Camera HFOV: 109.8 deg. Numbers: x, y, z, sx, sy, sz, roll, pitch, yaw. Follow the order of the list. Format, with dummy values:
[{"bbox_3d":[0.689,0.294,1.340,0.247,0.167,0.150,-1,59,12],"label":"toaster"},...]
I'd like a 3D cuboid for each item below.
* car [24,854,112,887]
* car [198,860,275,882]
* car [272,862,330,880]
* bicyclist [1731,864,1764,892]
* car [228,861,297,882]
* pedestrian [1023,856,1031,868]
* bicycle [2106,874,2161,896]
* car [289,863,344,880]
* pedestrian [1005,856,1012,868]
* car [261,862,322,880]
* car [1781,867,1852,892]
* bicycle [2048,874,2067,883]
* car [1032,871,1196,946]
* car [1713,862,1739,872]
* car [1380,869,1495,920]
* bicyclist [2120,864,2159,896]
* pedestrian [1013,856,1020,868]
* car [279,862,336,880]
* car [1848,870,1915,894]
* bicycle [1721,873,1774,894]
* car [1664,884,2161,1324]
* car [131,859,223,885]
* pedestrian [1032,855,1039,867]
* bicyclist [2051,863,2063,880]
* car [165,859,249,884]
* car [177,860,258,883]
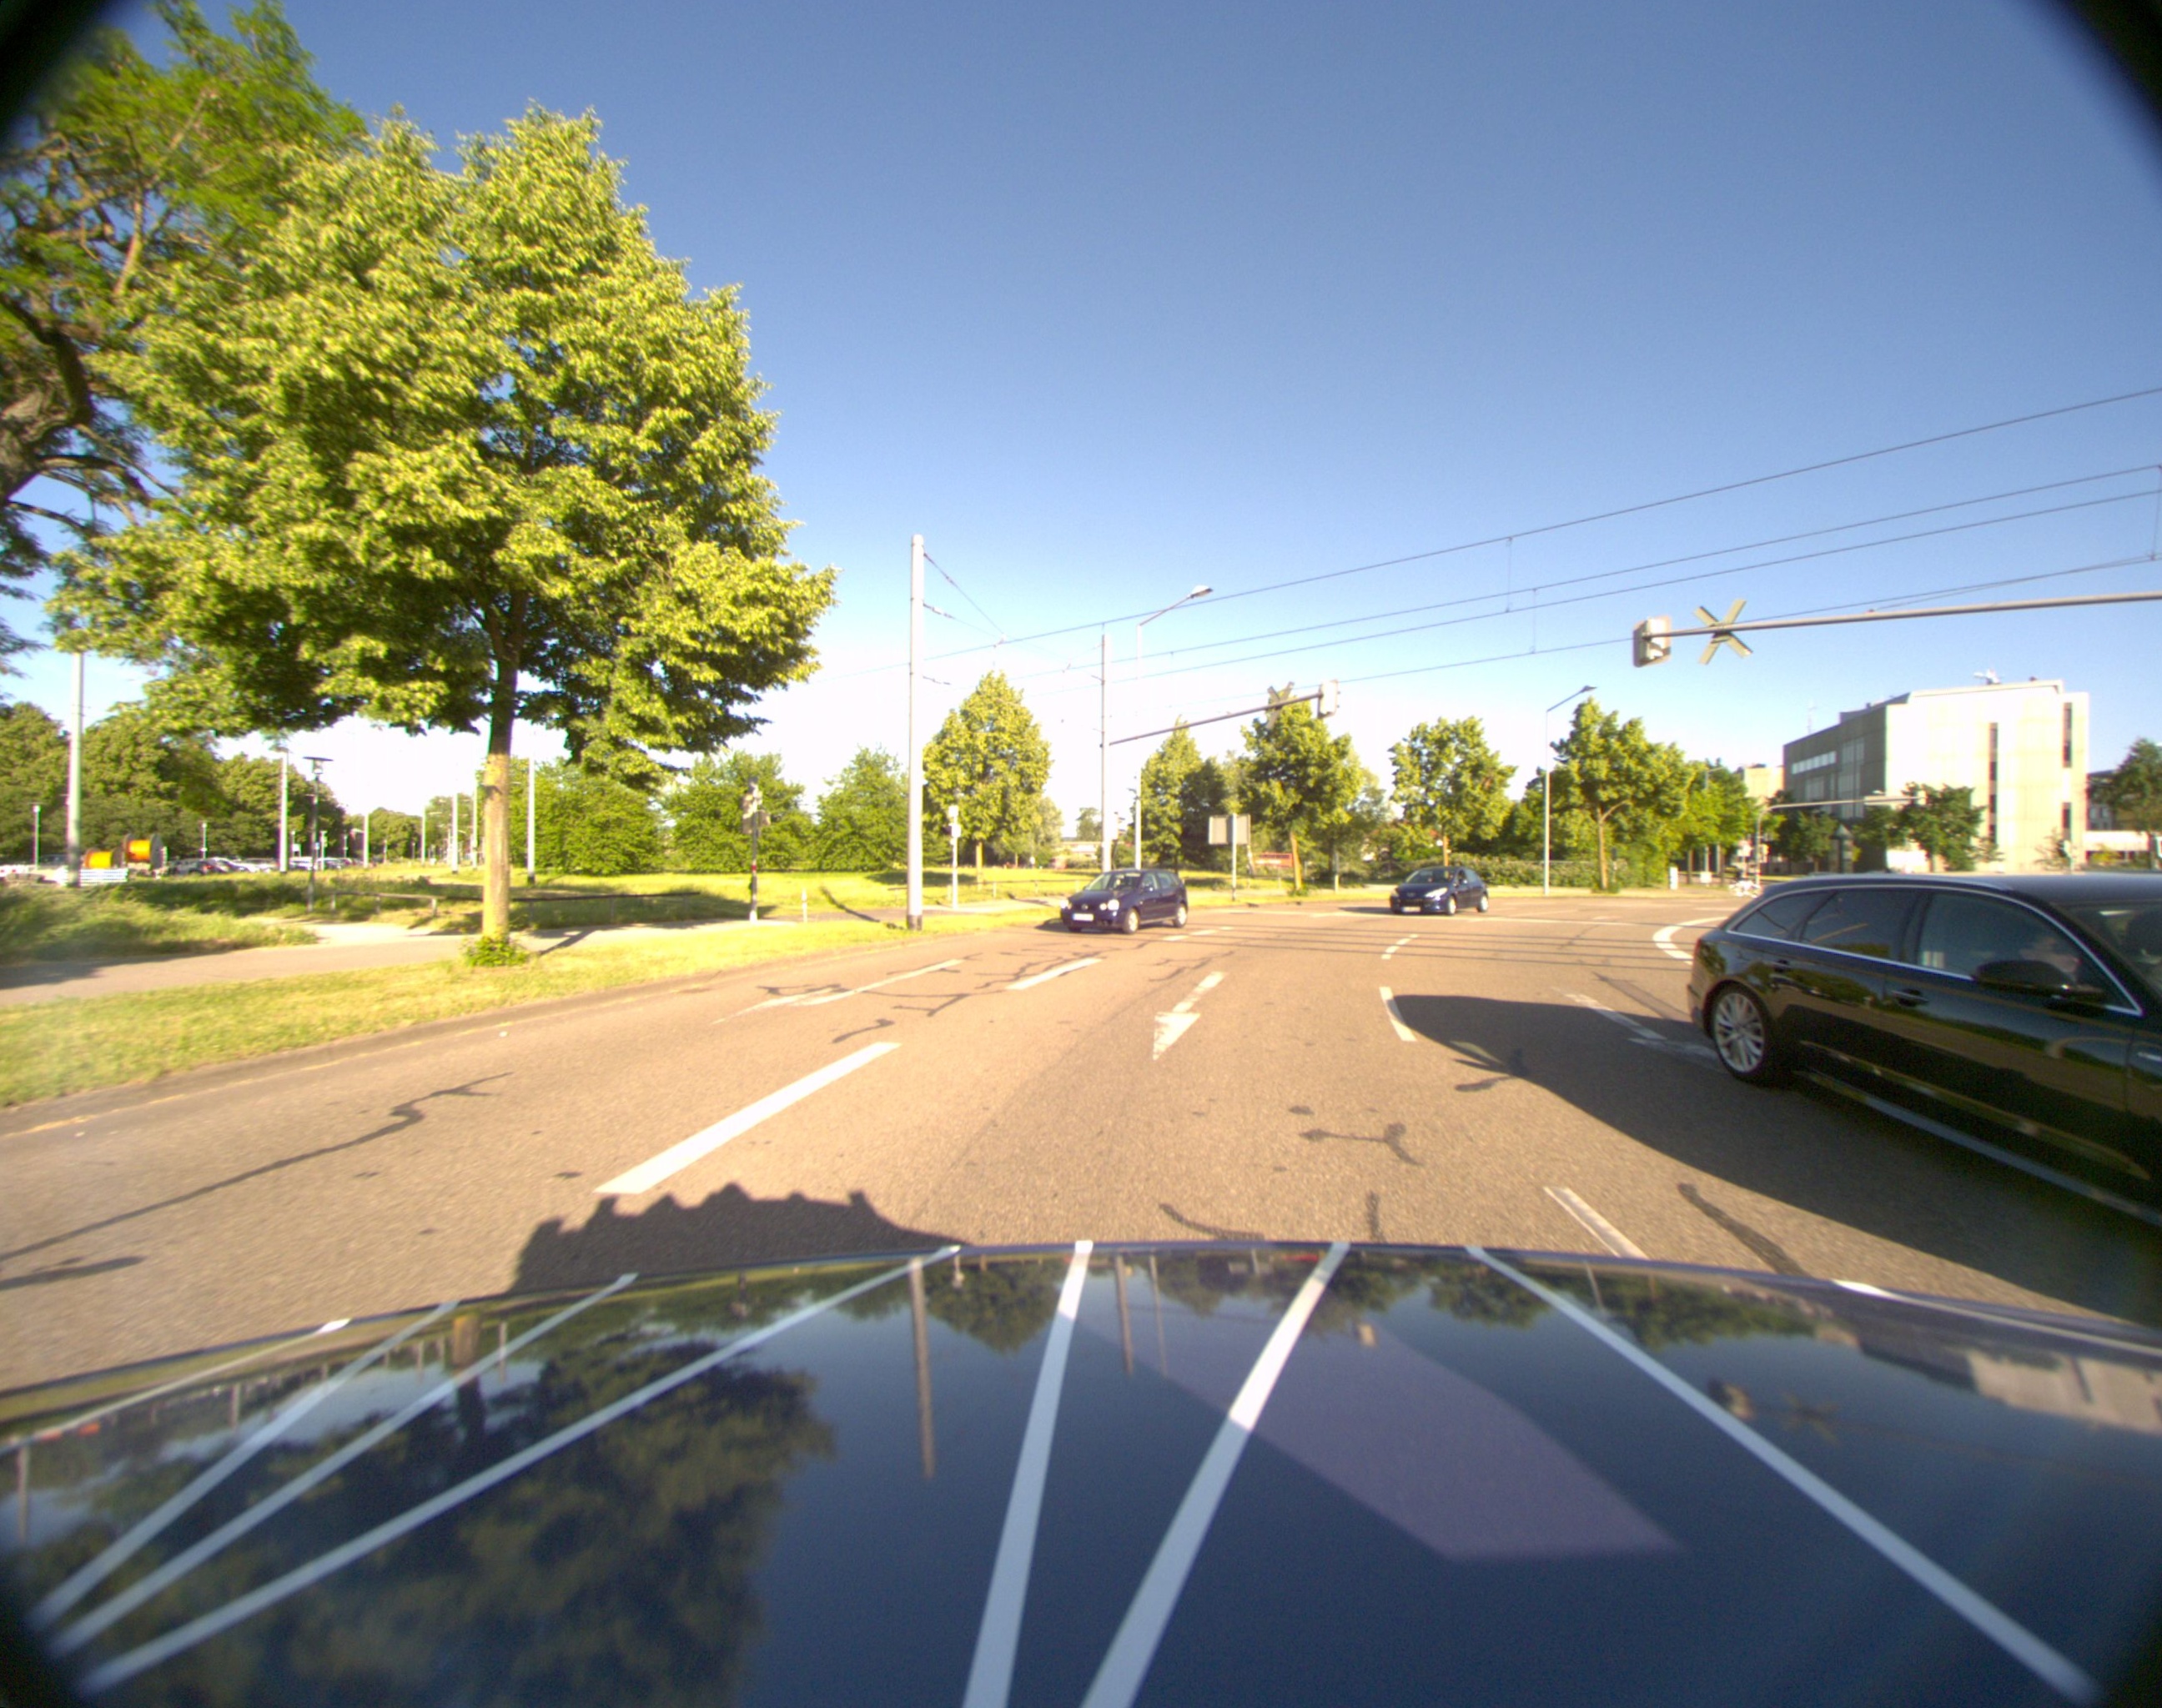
[{"bbox_3d":[-86.899,1.367,65.263,4.007,2.637,1.995,-2,0,-34],"label":"car"},{"bbox_3d":[-72.236,1.461,65.067,4.007,1.745,1.910,-2,0,-34],"label":"car"},{"bbox_3d":[-83.085,1.816,81.022,4.007,1.745,1.910,-2,0,-34],"label":"car"},{"bbox_3d":[39.247,1.416,44.746,1.086,1.553,0.876,1,2,5],"label":"bicyclist"},{"bbox_3d":[-76.082,1.587,70.709,4.007,1.745,1.910,-2,0,-34],"label":"car"},{"bbox_3d":[-6.455,0.902,91.125,0.773,1.432,0.795,0,0,11],"label":"pedestrian"},{"bbox_3d":[54.744,1.617,39.502,1.652,1.122,0.705,-1,1,18],"label":"bicycle"},{"bbox_3d":[-85.589,1.898,85.177,4.007,1.745,1.910,-2,0,-34],"label":"car"},{"bbox_3d":[-8.716,0.973,91.435,0.686,1.432,0.795,0,0,11],"label":"pedestrian"},{"bbox_3d":[-81.170,1.753,78.183,4.007,1.745,1.910,-2,0,-34],"label":"car"},{"bbox_3d":[44.709,1.528,46.298,1.720,1.371,4.075,-2,0,23],"label":"car"},{"bbox_3d":[90.521,2.261,70.455,0.490,0.847,1.893,0,0,32],"label":"bicycle"},{"bbox_3d":[0.917,1.151,17.676,1.633,1.458,4.556,0,-1,35],"label":"car"},{"bbox_3d":[101.618,1.973,119.786,2.004,1.532,4.333,0,0,24],"label":"car"},{"bbox_3d":[11.114,1.198,23.586,4.009,1.445,1.753,1,-2,-41],"label":"car"},{"bbox_3d":[54.934,1.347,39.445,0.941,1.653,0.705,0,1,18],"label":"bicyclist"},{"bbox_3d":[-7.733,0.942,91.029,0.686,1.432,0.795,0,0,11],"label":"pedestrian"},{"bbox_3d":[-84.452,1.861,83.024,4.007,1.745,1.910,-2,0,-34],"label":"car"},{"bbox_3d":[49.304,1.683,46.896,1.932,1.371,4.546,-1,0,34],"label":"car"},{"bbox_3d":[39.220,1.744,44.751,2.214,1.148,0.876,1,2,5],"label":"bicycle"},{"bbox_3d":[4.906,0.934,3.413,1.795,1.434,5.023,0,0,14],"label":"car"},{"bbox_3d":[-68.159,1.326,57.377,4.007,1.745,1.995,-2,0,-34],"label":"car"},{"bbox_3d":[-5.399,0.869,90.732,0.661,1.432,0.795,0,0,11],"label":"pedestrian"},{"bbox_3d":[90.536,1.595,70.477,0.432,1.555,0.853,0,0,32],"label":"bicyclist"},{"bbox_3d":[-69.736,1.379,60.703,4.007,1.745,1.910,-2,0,-34],"label":"car"},{"bbox_3d":[-71.186,1.426,62.751,4.007,1.745,1.910,-2,0,-34],"label":"car"}]
